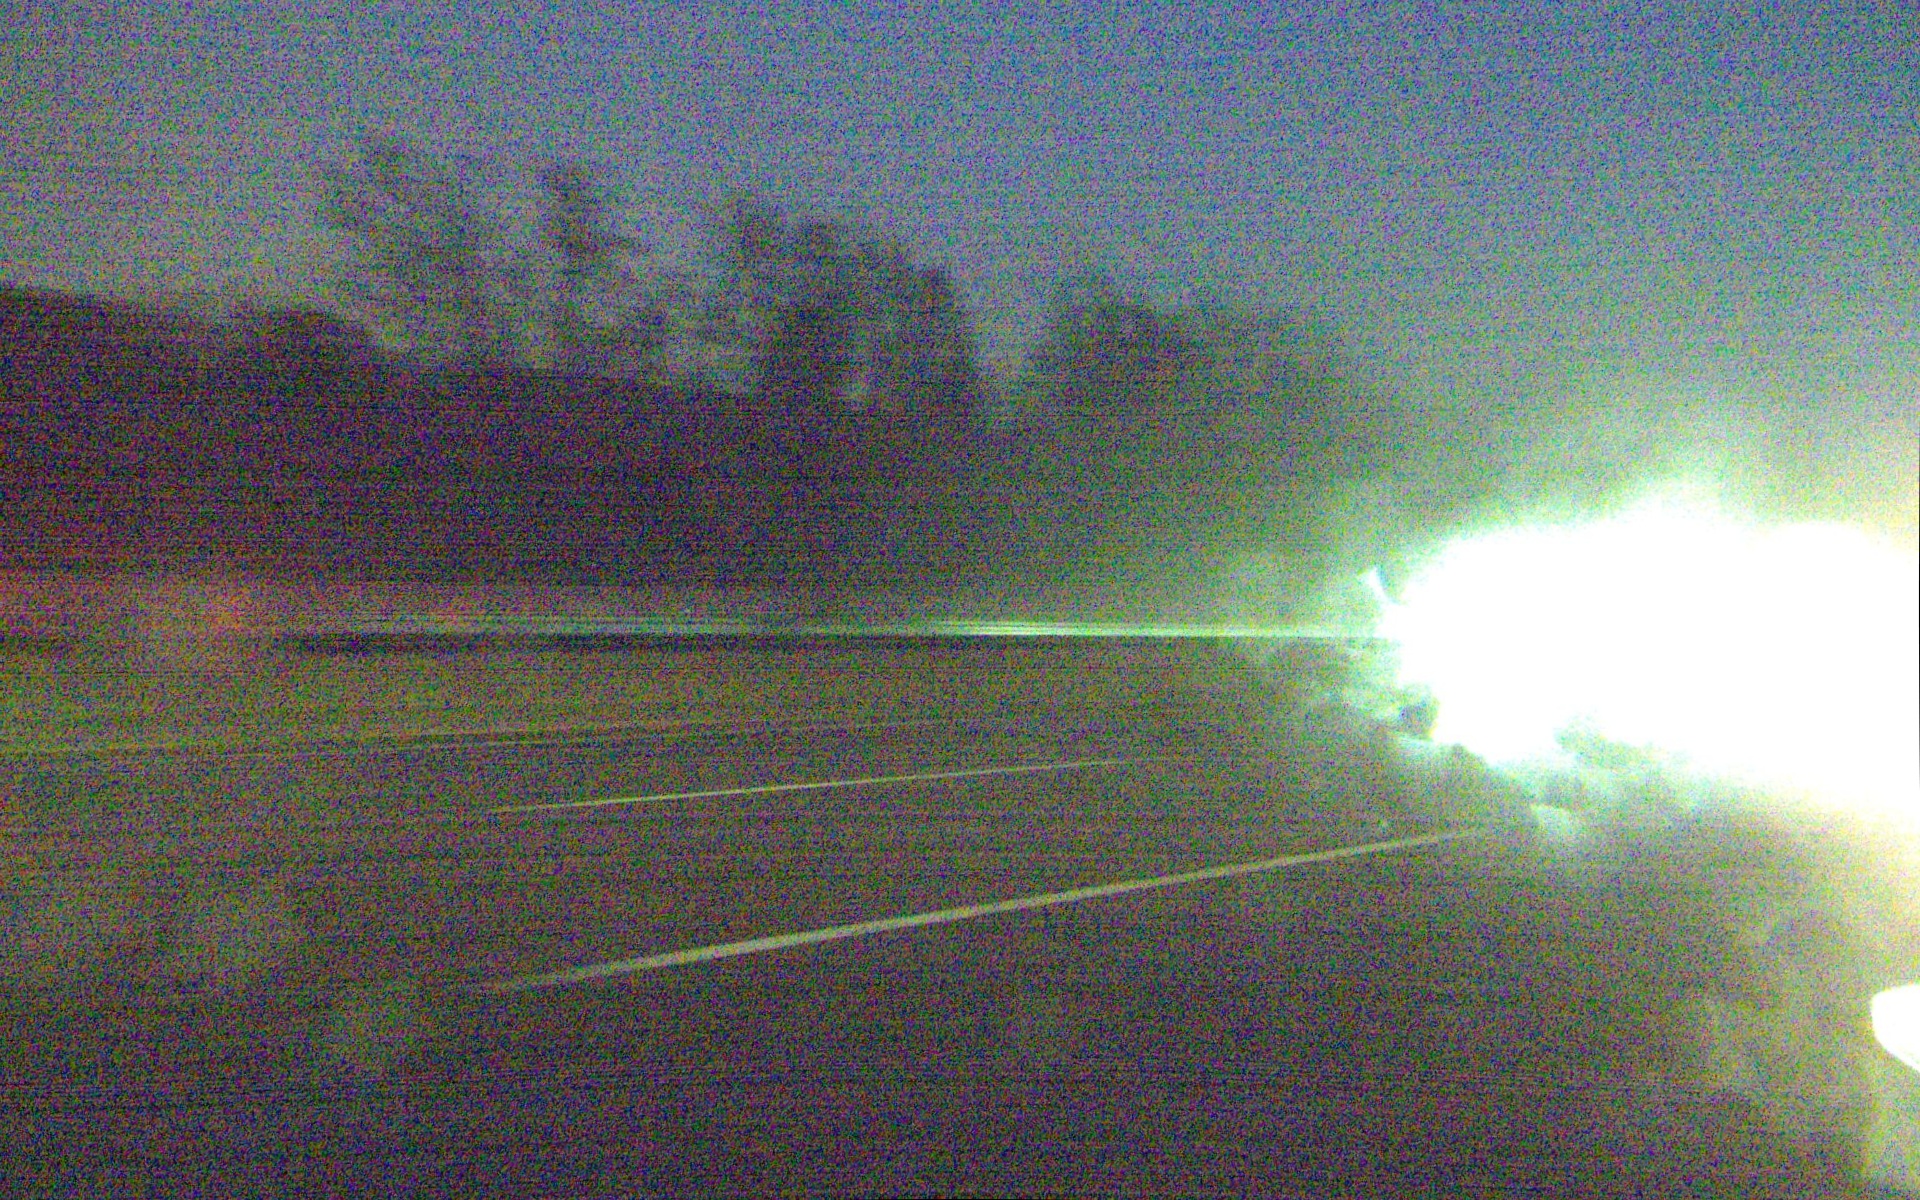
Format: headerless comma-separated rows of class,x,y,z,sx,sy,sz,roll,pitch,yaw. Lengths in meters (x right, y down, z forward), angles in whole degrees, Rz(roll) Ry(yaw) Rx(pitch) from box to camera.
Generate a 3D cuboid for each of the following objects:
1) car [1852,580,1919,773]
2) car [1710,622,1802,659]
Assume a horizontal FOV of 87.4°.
car,11.436,0.792,10.249,5.063,1.816,1.944,2,0,-30
car,39.609,1.988,49.940,4.965,1.617,1.982,1,2,-32
